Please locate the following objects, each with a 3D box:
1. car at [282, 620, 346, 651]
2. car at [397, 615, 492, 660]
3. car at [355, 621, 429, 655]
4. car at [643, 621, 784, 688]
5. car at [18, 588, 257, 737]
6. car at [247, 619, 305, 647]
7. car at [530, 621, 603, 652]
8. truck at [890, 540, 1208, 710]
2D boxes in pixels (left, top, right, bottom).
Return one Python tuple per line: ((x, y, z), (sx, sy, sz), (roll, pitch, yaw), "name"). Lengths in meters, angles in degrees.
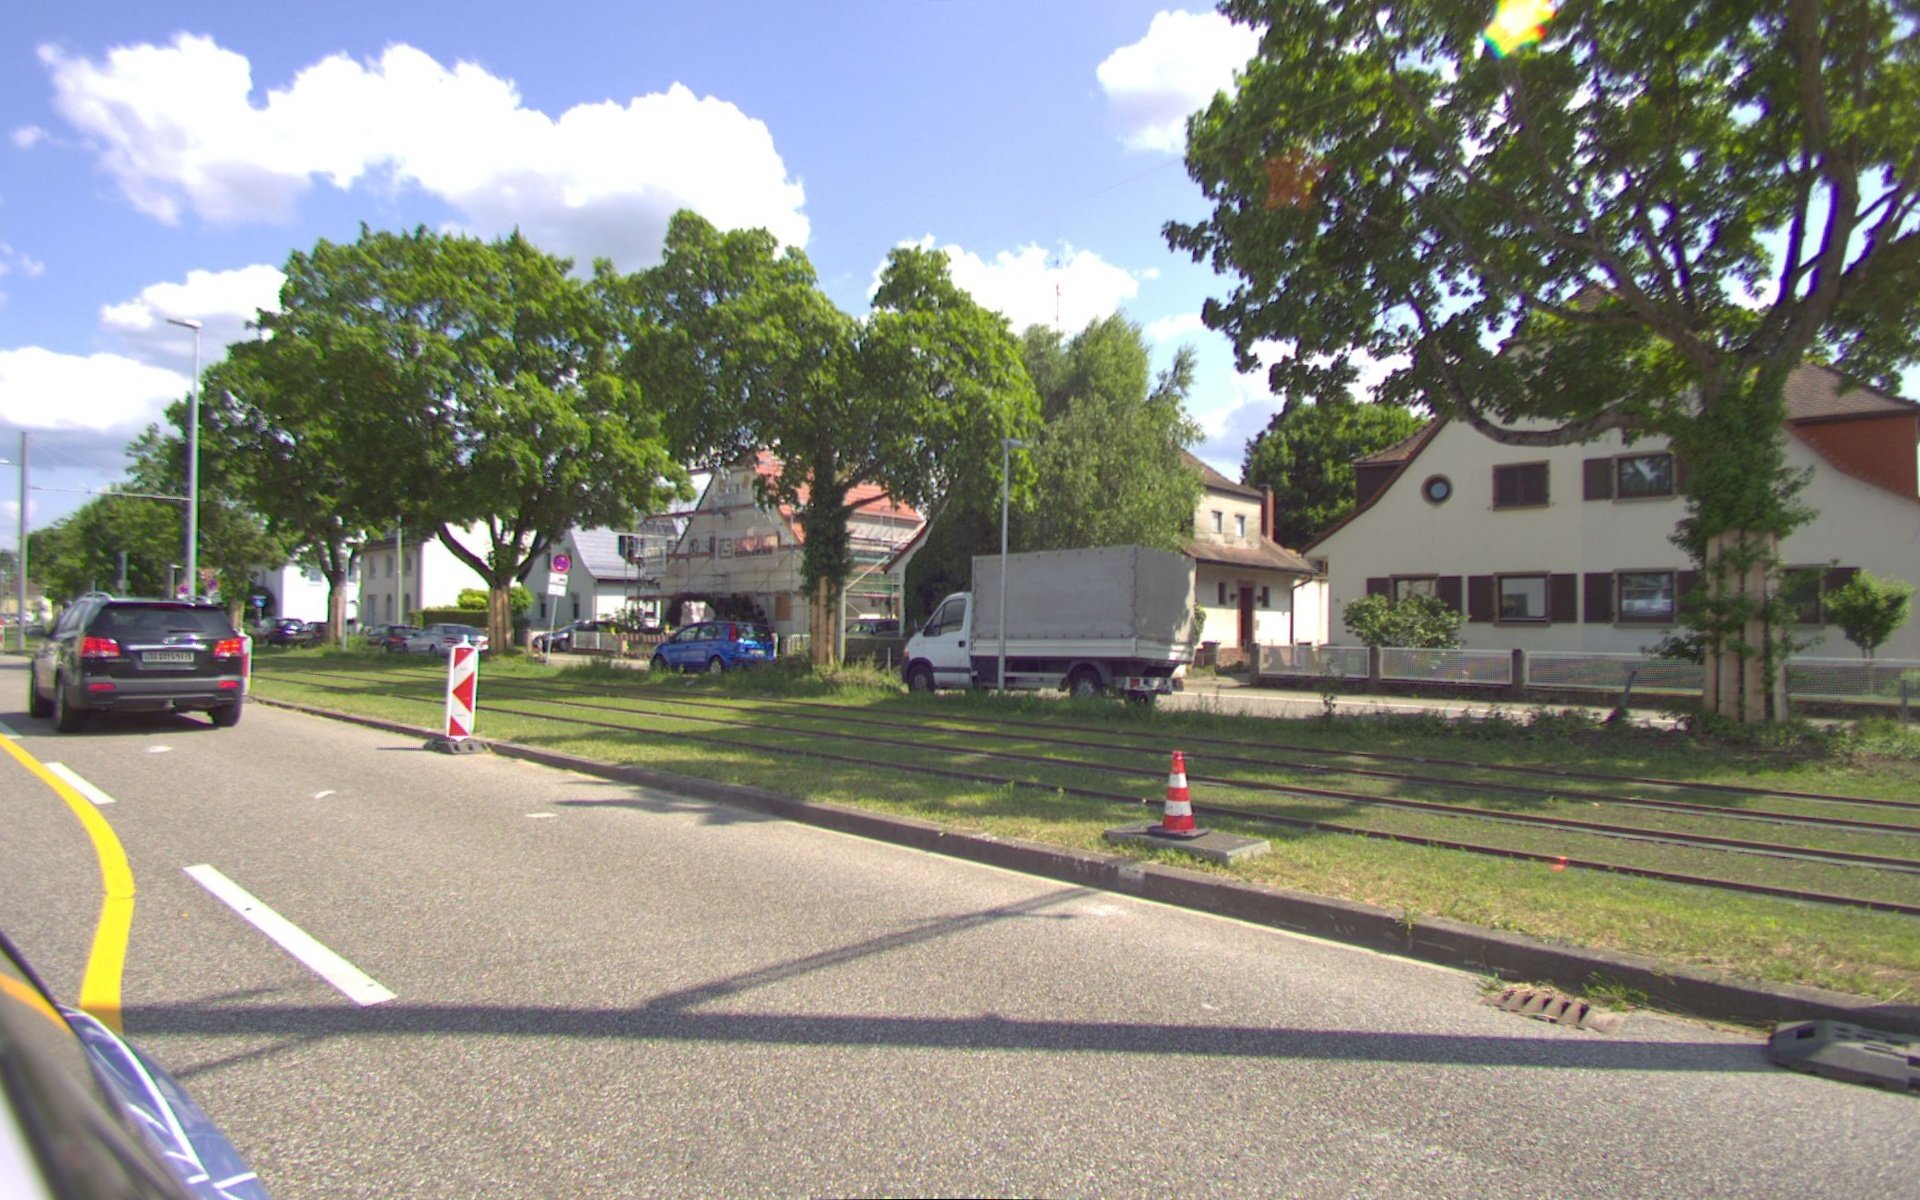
((-31.256, 1.688, 48.894), (3.999, 1.311, 1.615), (0, 1, 42), "car")
((-19.571, 1.384, 38.337), (4.523, 1.524, 1.685), (0, 0, 42), "car")
((-23.849, 1.573, 42.424), (3.786, 1.251, 1.603), (0, 1, 42), "car")
((-6.492, 1.369, 26.489), (3.930, 1.524, 1.651), (0, 0, 42), "car")
((-11.197, 0.784, 13.679), (4.219, 1.703, 1.777), (-1, -3, 41), "car")
((-35.743, 1.696, 52.873), (3.999, 1.311, 1.615), (0, 1, 42), "car")
((-18.850, 1.729, 48.551), (3.190, 1.393, 1.492), (-1, 0, -18), "car")
((1.554, 0.405, 19.684), (5.950, 2.826, 2.340), (0, 0, 42), "truck")
